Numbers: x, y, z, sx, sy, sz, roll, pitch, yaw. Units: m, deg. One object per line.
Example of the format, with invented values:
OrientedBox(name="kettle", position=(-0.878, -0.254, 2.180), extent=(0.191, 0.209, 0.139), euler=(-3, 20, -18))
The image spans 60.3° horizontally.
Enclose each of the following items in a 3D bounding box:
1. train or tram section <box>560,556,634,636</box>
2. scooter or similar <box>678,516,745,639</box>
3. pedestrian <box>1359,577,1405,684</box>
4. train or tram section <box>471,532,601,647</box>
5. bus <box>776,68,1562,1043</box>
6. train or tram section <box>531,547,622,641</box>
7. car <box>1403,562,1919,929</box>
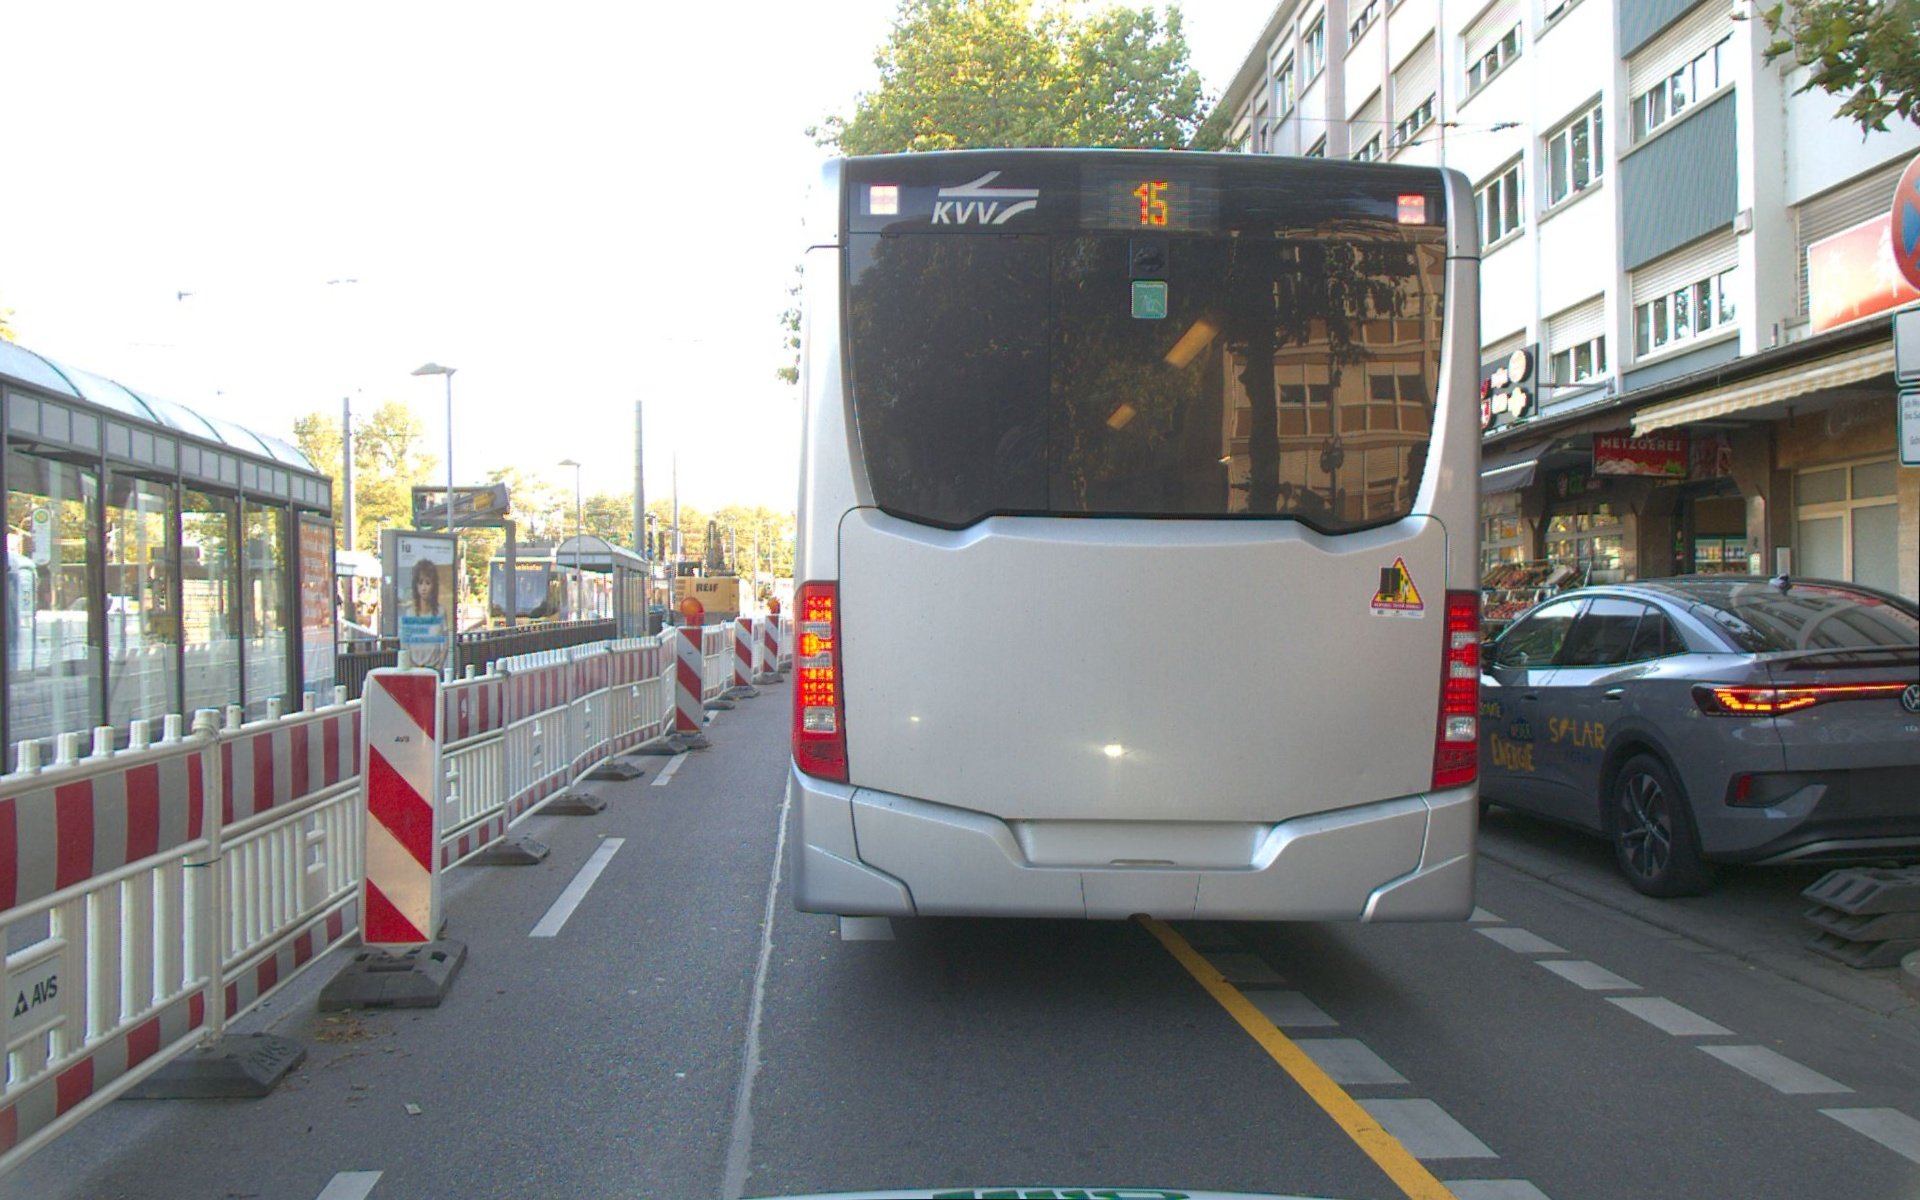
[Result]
OrientedBox(name="train or tram section", position=(-17.706, -0.162, 81.235), extent=(2.636, 3.594, 11.560), euler=(1, 0, -8))
OrientedBox(name="scooter or similar", position=(-9.621, -0.847, 64.265), extent=(2.422, 4.549, 5.962), euler=(0, 0, -8))
OrientedBox(name="pedestrian", position=(6.813, 0.490, 26.691), extent=(0.649, 1.696, 0.601), euler=(-2, -1, 15))
OrientedBox(name="train or tram section", position=(-14.682, -0.319, 58.178), extent=(2.634, 3.595, 11.756), euler=(1, 0, -6))
OrientedBox(name="bus", position=(0.651, -0.132, 9.484), extent=(2.558, 3.181, 7.991), euler=(1, 0, -1))
OrientedBox(name="train or tram section", position=(-16.024, -0.217, 69.787), extent=(2.636, 3.621, 11.560), euler=(1, 0, -8))
OrientedBox(name="car", position=(4.381, 0.635, 9.797), extent=(1.955, 1.609, 4.363), euler=(-3, 1, -5))
